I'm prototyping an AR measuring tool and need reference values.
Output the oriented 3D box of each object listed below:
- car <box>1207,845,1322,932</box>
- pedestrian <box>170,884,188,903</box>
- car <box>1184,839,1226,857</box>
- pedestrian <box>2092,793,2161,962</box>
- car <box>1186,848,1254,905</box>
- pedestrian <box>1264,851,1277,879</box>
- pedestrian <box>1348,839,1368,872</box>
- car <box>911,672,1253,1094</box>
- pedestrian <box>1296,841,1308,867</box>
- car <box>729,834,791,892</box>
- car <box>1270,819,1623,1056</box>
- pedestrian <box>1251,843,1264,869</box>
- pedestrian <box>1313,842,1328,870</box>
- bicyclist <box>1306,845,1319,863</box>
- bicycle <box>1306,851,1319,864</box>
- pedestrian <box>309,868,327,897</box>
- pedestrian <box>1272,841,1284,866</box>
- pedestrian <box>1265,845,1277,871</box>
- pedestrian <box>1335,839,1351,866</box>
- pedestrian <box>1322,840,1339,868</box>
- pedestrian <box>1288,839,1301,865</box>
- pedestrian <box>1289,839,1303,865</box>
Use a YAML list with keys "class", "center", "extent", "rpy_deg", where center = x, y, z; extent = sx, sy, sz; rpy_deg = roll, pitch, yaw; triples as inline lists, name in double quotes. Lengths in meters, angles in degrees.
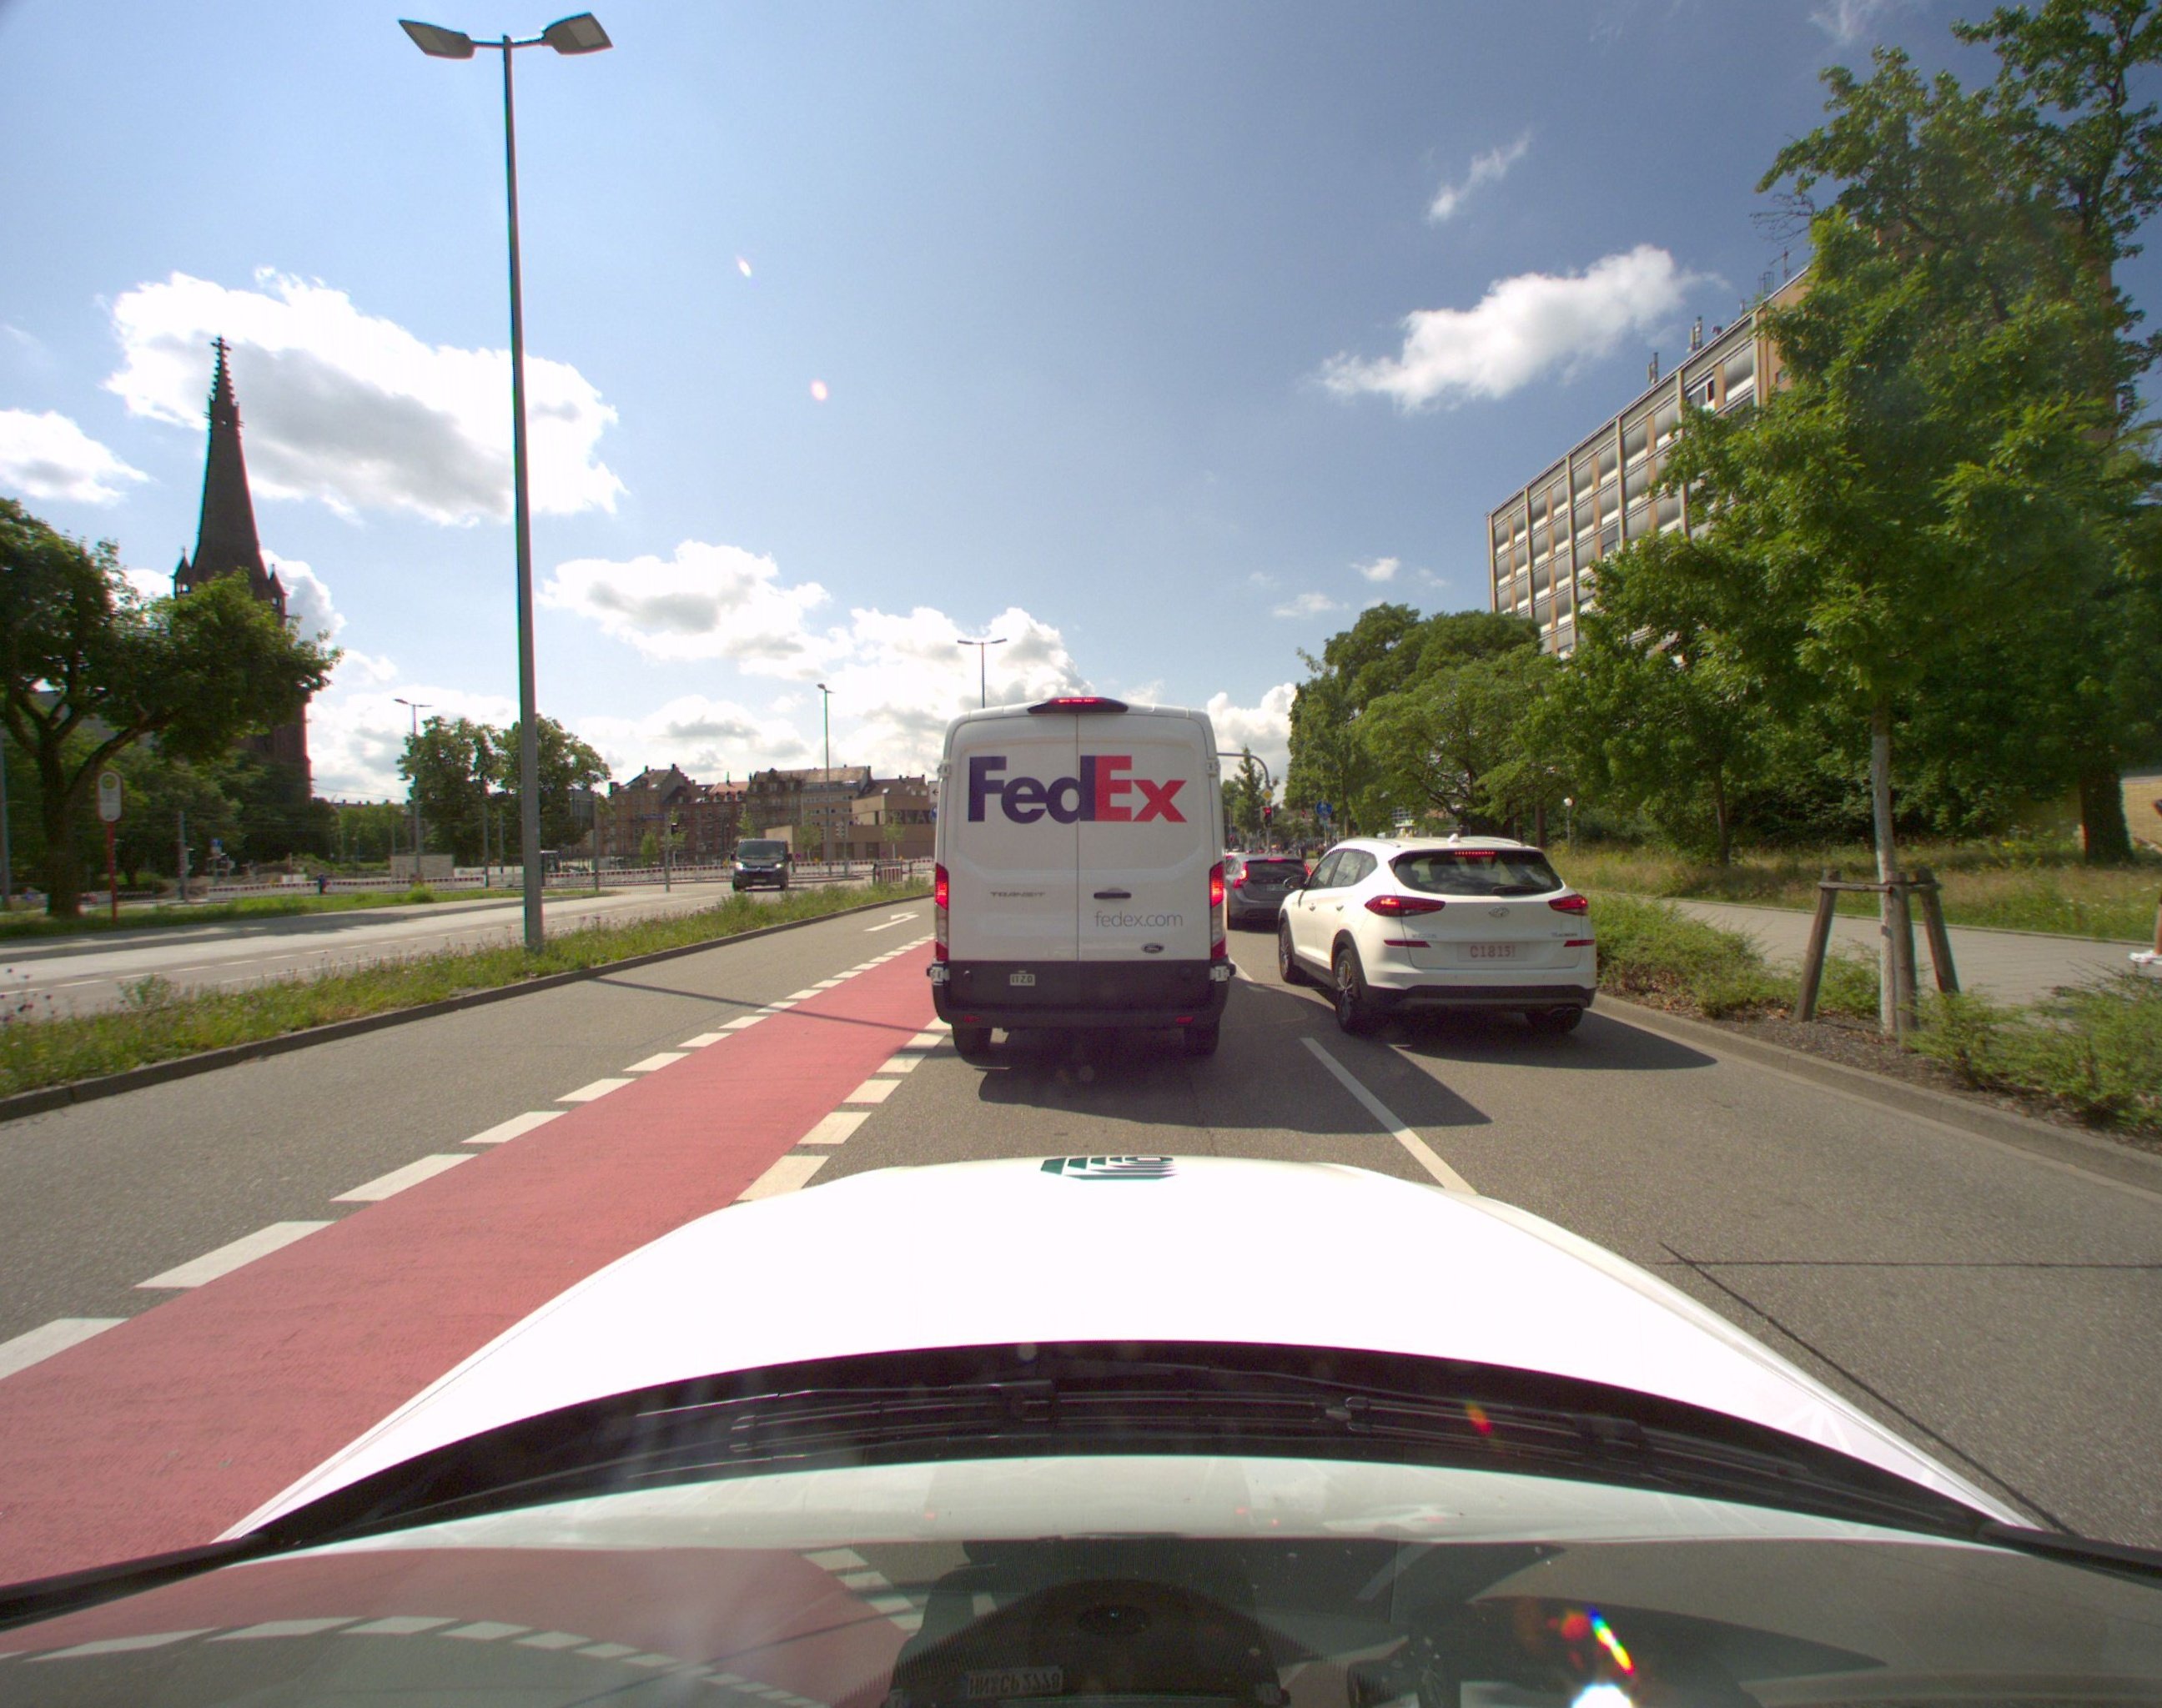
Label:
- class: "car"
  center: [3.622, 0.611, 16.679]
  extent: [1.684, 1.549, 3.724]
  rpy_deg: [-2, 0, 3]
- class: "pedestrian"
  center: [-80.999, 3.519, 73.110]
  extent: [0.860, 1.663, 0.745]
  rpy_deg: [-2, 0, -29]
- class: "car"
  center: [18.826, -0.860, 123.330]
  extent: [2.465, 2.717, 7.126]
  rpy_deg: [-1, -1, 45]
- class: "pedestrian"
  center: [10.300, 0.202, 7.570]
  extent: [0.755, 1.557, 0.817]
  rpy_deg: [-2, 0, 3]
- class: "car"
  center: [3.910, 0.590, 23.351]
  extent: [1.493, 1.464, 3.477]
  rpy_deg: [-2, 0, 3]
- class: "pedestrian"
  center: [13.173, 0.764, 56.540]
  extent: [0.752, 1.849, 0.820]
  rpy_deg: [-2, 0, 20]
- class: "pedestrian"
  center: [14.374, 0.066, 42.268]
  extent: [0.755, 1.655, 0.817]
  rpy_deg: [-2, 0, 5]
- class: "car"
  center: [0.132, 0.173, 7.307]
  extent: [2.064, 2.581, 4.432]
  rpy_deg: [-2, 0, 3]
- class: "pedestrian"
  center: [15.623, -0.019, 57.601]
  extent: [0.754, 1.789, 0.818]
  rpy_deg: [-2, 0, 10]
- class: "car"
  center: [-13.683, 0.377, 34.850]
  extent: [2.156, 2.175, 4.983]
  rpy_deg: [-4, 0, -21]
- class: "car"
  center: [3.111, 0.594, 7.912]
  extent: [1.807, 1.678, 3.978]
  rpy_deg: [-2, 0, 3]
- class: "pedestrian"
  center: [12.945, 0.147, 59.688]
  extent: [0.810, 1.849, 0.762]
  rpy_deg: [-2, 0, 5]
- class: "pedestrian"
  center: [16.087, 0.157, 54.765]
  extent: [0.756, 1.849, 0.816]
  rpy_deg: [-2, 0, 0]
- class: "bicyclist"
  center: [27.532, 0.005, 96.760]
  extent: [1.421, 2.171, 1.345]
  rpy_deg: [-2, 0, 17]
- class: "bicycle"
  center: [27.495, 0.374, 96.643]
  extent: [1.414, 1.464, 4.330]
  rpy_deg: [-2, 0, 17]
- class: "pedestrian"
  center: [-53.136, 1.990, 56.707]
  extent: [0.644, 2.013, 0.632]
  rpy_deg: [-2, 0, -1]
- class: "pedestrian"
  center: [14.742, -0.017, 61.088]
  extent: [0.754, 1.849, 0.818]
  rpy_deg: [-2, 0, 8]
- class: "pedestrian"
  center: [13.715, 0.314, 58.883]
  extent: [0.753, 1.849, 0.820]
  rpy_deg: [-2, 0, 16]
- class: "pedestrian"
  center: [18.063, -0.094, 56.087]
  extent: [0.758, 1.849, 0.814]
  rpy_deg: [-2, 0, -6]
- class: "pedestrian"
  center: [17.133, 0.003, 55.884]
  extent: [0.758, 1.849, 0.814]
  rpy_deg: [-2, 0, -8]
- class: "pedestrian"
  center: [15.810, -0.141, 60.307]
  extent: [0.755, 1.849, 0.817]
  rpy_deg: [-2, 0, 5]
- class: "pedestrian"
  center: [15.663, -0.144, 59.293]
  extent: [0.755, 1.849, 0.817]
  rpy_deg: [-2, 0, 3]
